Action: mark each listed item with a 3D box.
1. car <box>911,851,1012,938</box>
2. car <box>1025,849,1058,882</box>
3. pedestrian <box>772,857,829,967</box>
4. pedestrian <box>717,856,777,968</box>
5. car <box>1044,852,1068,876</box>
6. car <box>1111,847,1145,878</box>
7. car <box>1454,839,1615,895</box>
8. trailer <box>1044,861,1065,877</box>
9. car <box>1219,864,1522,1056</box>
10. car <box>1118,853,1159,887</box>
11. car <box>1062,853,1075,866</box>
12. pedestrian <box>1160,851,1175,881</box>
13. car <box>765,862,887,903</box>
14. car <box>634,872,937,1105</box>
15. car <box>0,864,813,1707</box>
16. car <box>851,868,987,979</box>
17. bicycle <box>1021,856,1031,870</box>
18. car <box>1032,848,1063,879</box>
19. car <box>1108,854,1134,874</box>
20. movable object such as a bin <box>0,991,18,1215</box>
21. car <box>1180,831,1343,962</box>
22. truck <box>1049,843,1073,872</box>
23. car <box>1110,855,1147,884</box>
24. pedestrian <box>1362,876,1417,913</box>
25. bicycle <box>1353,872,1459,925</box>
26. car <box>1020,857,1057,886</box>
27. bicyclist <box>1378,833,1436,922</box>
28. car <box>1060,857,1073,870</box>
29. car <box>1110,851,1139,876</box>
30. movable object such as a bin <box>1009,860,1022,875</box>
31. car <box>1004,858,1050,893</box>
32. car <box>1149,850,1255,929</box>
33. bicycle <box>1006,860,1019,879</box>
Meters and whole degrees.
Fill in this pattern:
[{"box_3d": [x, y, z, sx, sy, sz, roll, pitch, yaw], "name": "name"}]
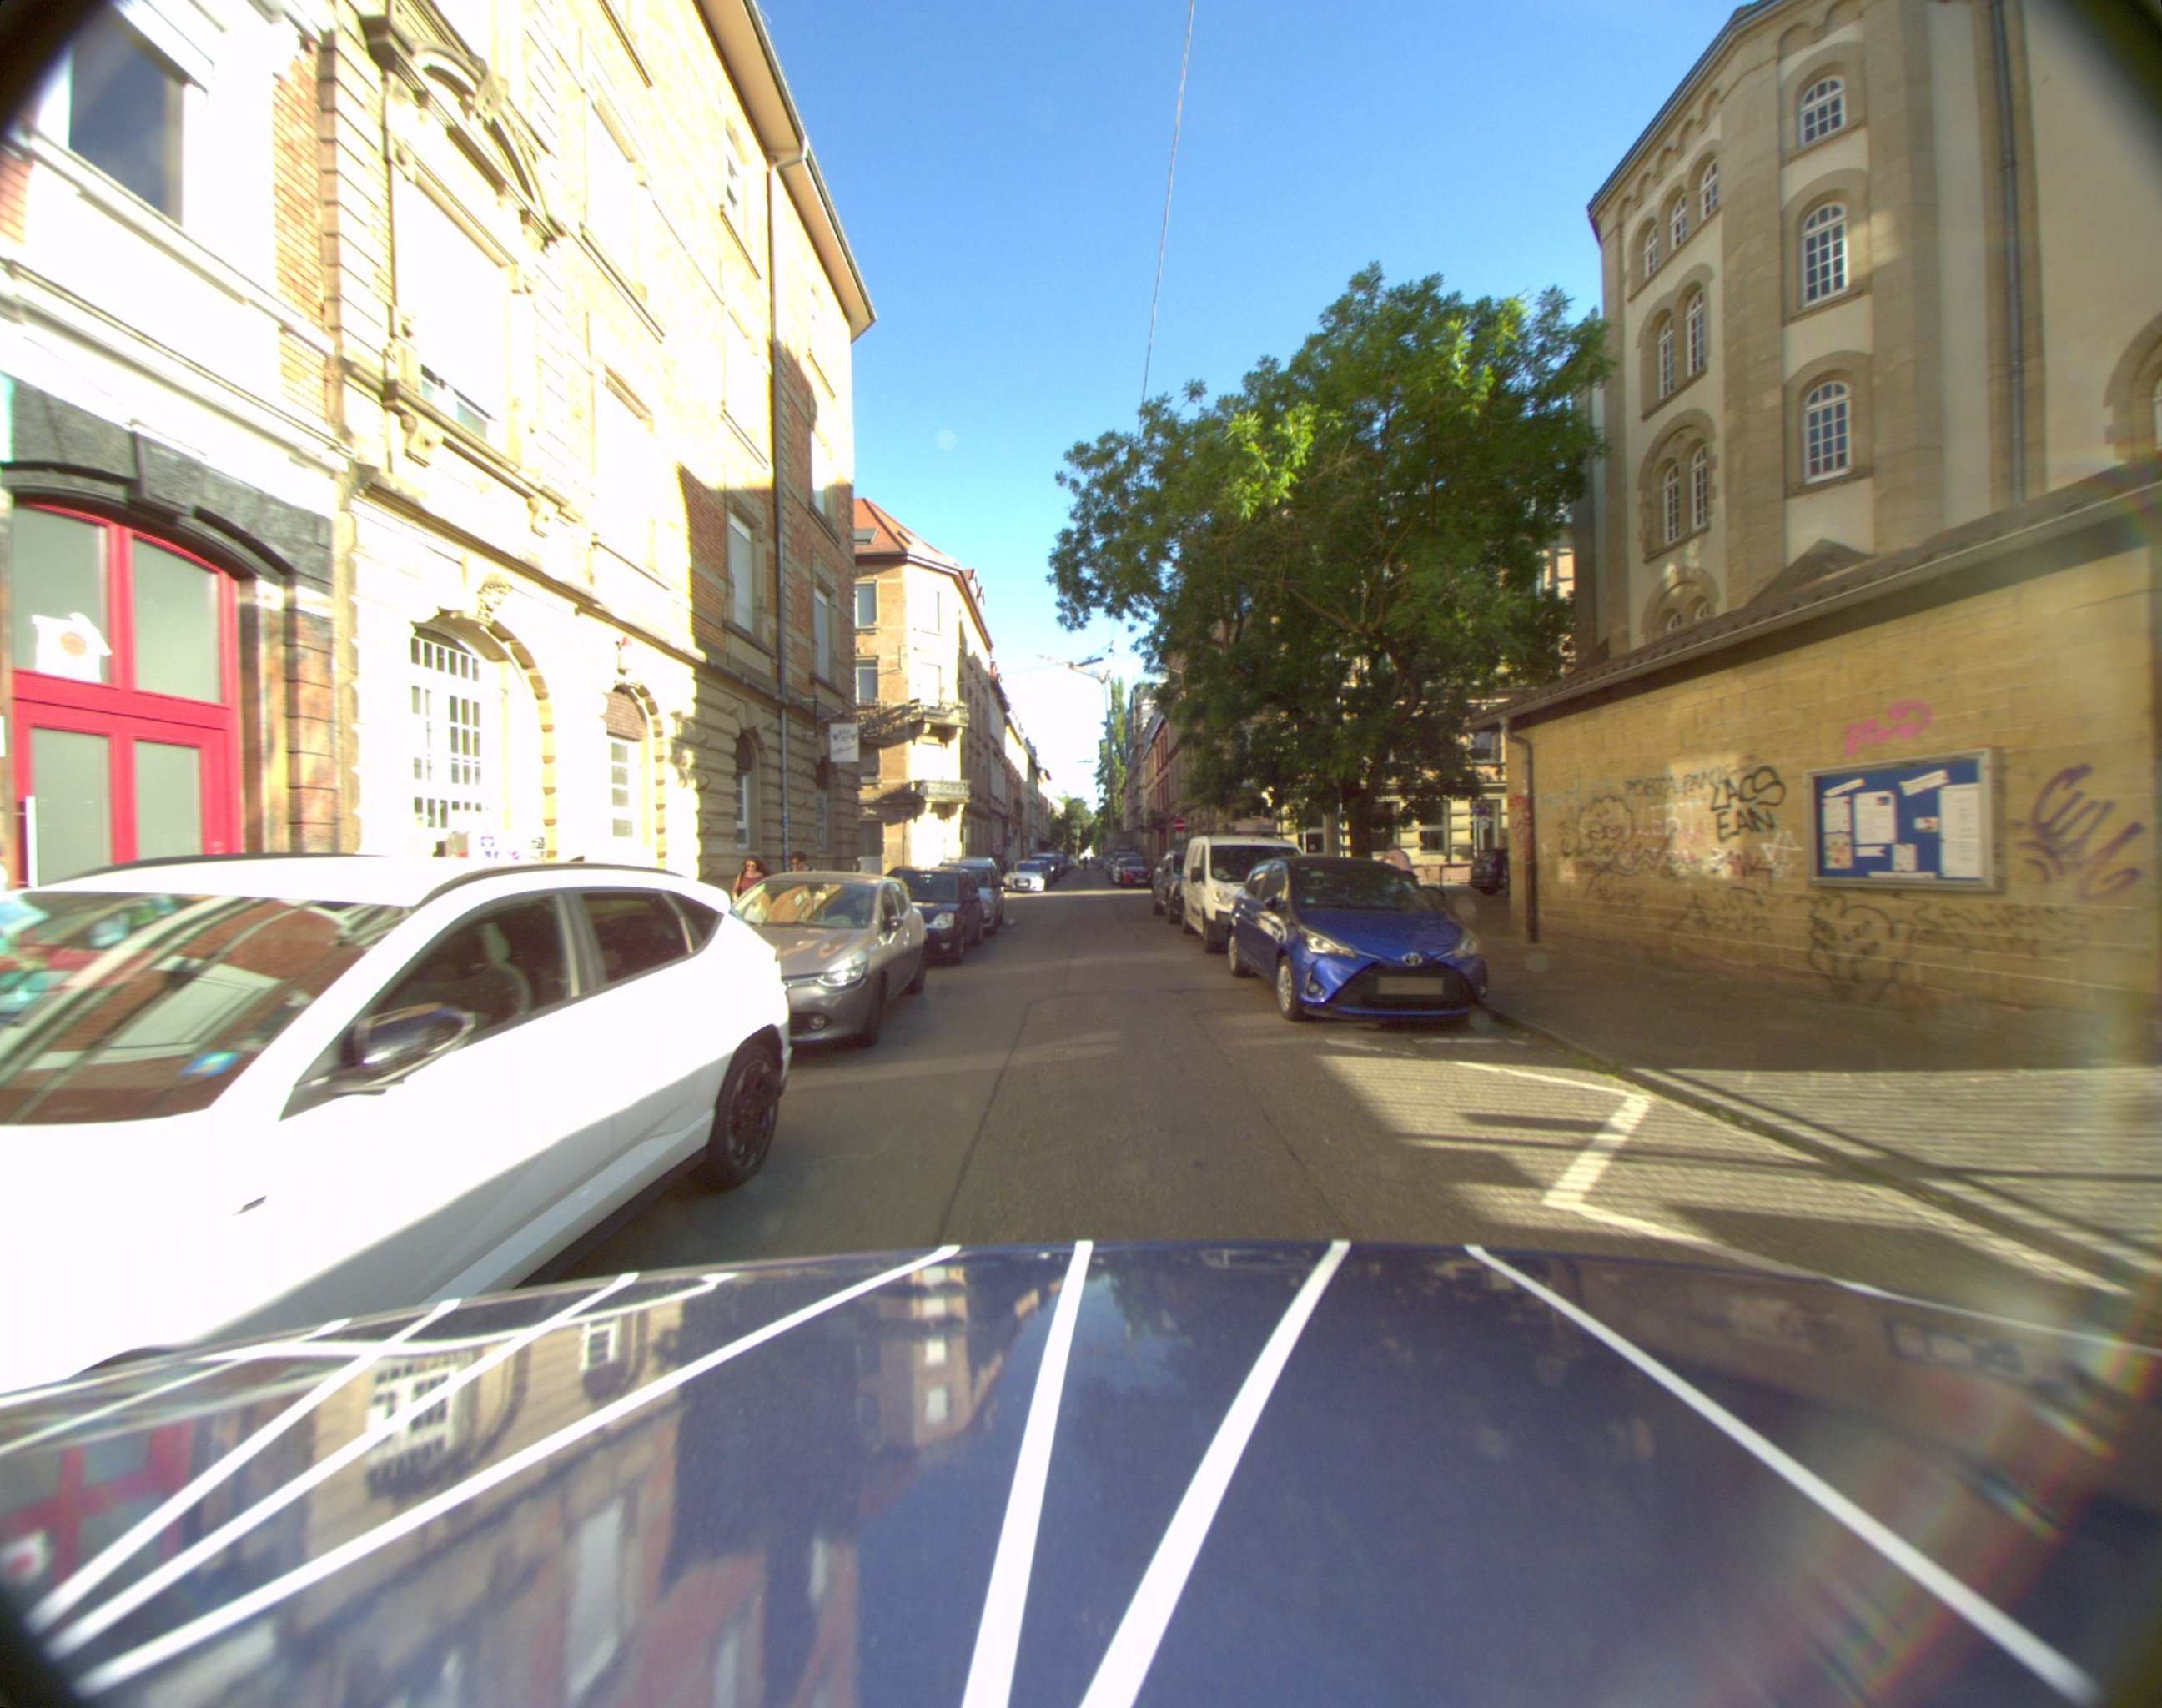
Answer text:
[{"box_3d": [-2.548, 0.801, 17.102, 1.708, 1.704, 3.937, -1, 0, -1], "name": "car"}, {"box_3d": [-2.507, 0.692, 49.044, 1.774, 1.949, 4.264, -3, 0, 1], "name": "car"}, {"box_3d": [-4.188, 0.843, 11.390, 0.592, 1.594, 0.727, 0, 0, -1], "name": "pedestrian"}, {"box_3d": [-4.948, 0.841, 11.289, 0.575, 1.612, 0.734, 0, 0, -1], "name": "pedestrian"}, {"box_3d": [-2.144, 0.831, 67.125, 1.849, 1.972, 4.576, -4, 0, 0], "name": "car"}, {"box_3d": [2.923, 0.511, 47.968, 1.897, 1.774, 4.608, -3, 0, 1], "name": "car"}, {"box_3d": [14.292, 0.408, 24.105, 3.997, 1.588, 1.771, -2, -1, 0], "name": "car"}, {"box_3d": [-2.154, 1.196, 62.330, 1.508, 1.106, 3.039, -5, 0, -1], "name": "trailer"}, {"box_3d": [2.642, 0.865, 7.939, 1.691, 1.468, 3.860, 0, 0, 0], "name": "car"}, {"box_3d": [2.774, 0.740, 37.391, 1.727, 1.472, 4.089, -3, 0, 1], "name": "car"}, {"box_3d": [-1.688, 0.734, 105.476, 1.603, 1.652, 4.060, -4, 0, 1], "name": "car"}, {"box_3d": [4.603, 0.622, 40.471, 0.668, 1.571, 0.759, -3, 1, 0], "name": "pedestrian"}, {"box_3d": [-10.004, 1.111, 30.038, 4.253, 1.462, 1.768, -1, 0, -6], "name": "car"}, {"box_3d": [-2.541, 1.033, 7.565, 1.576, 1.516, 3.907, -4, 0, -3], "name": "car"}, {"box_3d": [-2.526, 0.969, 2.214, 1.812, 1.680, 4.214, -3, 1, 1], "name": "car"}, {"box_3d": [-2.529, 1.023, 12.668, 1.539, 1.504, 3.681, -1, 0, -1], "name": "car"}, {"box_3d": [-4.739, 0.761, 65.824, 0.670, 1.215, 1.992, 1, 1, 1], "name": "bicycle"}, {"box_3d": [-2.379, 0.645, 54.649, 1.836, 2.002, 4.741, -3, 0, 1], "name": "car"}, {"box_3d": [3.037, 0.733, 57.890, 1.703, 1.306, 4.000, -5, 0, 1], "name": "car"}, {"box_3d": [-5.256, 1.188, 3.297, 0.550, 1.046, 0.602, 1, 0, -33], "name": "movable object such as a bin"}, {"box_3d": [2.892, 0.620, 13.177, 1.850, 1.851, 4.465, -1, 0, 2], "name": "car"}, {"box_3d": [-2.009, 0.312, 75.199, 2.154, 2.642, 6.252, 3, 0, -2], "name": "truck"}, {"box_3d": [2.587, 0.803, 41.762, 1.678, 1.412, 3.874, -3, 0, -1], "name": "car"}, {"box_3d": [6.943, 0.902, 17.129, 0.920, 0.773, 0.701, -1, 0, -23], "name": "pedestrian"}, {"box_3d": [6.535, 0.887, 15.347, 1.765, 0.917, 0.827, -4, 0, 9], "name": "bicycle"}, {"box_3d": [-2.292, 0.935, 41.876, 1.670, 1.470, 3.888, -2, 0, 1], "name": "car"}, {"box_3d": [6.569, 0.466, 15.345, 0.806, 1.713, 0.692, -5, 1, 9], "name": "bicyclist"}, {"box_3d": [-1.873, 1.256, 98.729, 1.525, 1.525, 3.463, 4, 0, 1], "name": "car"}, {"box_3d": [2.977, 0.633, 53.066, 1.792, 1.615, 4.608, -3, 0, 2], "name": "car"}, {"box_3d": [-4.906, 0.991, 56.881, 0.898, 1.055, 0.722, 1, 0, -2], "name": "movable object such as a bin"}, {"box_3d": [-2.474, 0.966, 35.773, 1.710, 1.450, 4.511, -3, 0, 1], "name": "car"}, {"box_3d": [2.786, 0.761, 18.412, 1.745, 1.637, 4.288, -1, 0, -2], "name": "car"}, {"box_3d": [-4.811, 1.067, 53.357, 0.728, 1.296, 1.692, 2, 0, 1], "name": "bicycle"}]
